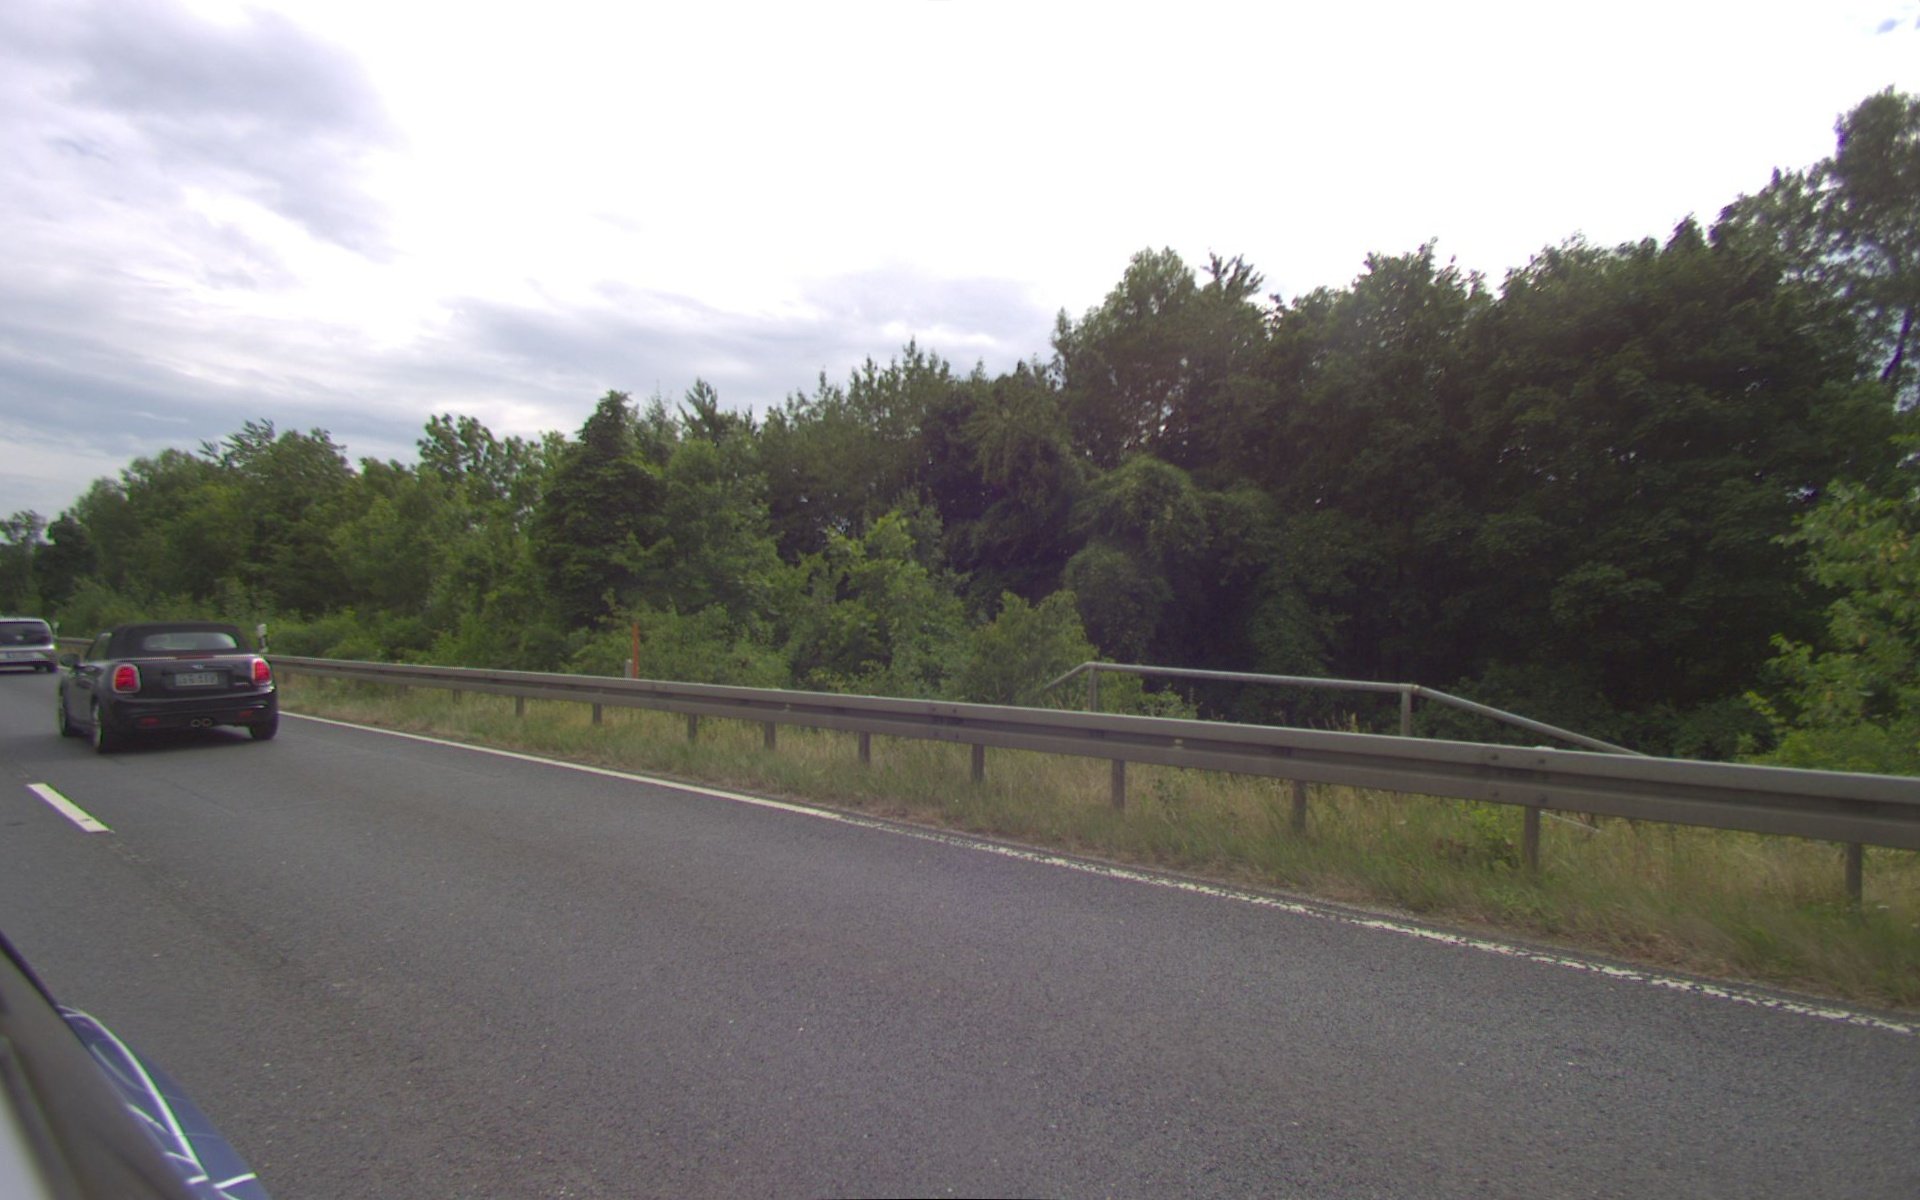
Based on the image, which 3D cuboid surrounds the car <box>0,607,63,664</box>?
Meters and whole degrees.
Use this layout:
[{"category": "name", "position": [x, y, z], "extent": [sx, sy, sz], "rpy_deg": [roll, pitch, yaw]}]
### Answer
[{"category": "car", "position": [-25.987, 0.927, 27.592], "extent": [3.999, 1.456, 1.816], "rpy_deg": [-1, -1, 42]}]

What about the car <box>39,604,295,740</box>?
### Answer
[{"category": "car", "position": [-9.983, 0.787, 12.634], "extent": [3.998, 1.431, 1.816], "rpy_deg": [-1, -1, 41]}]
